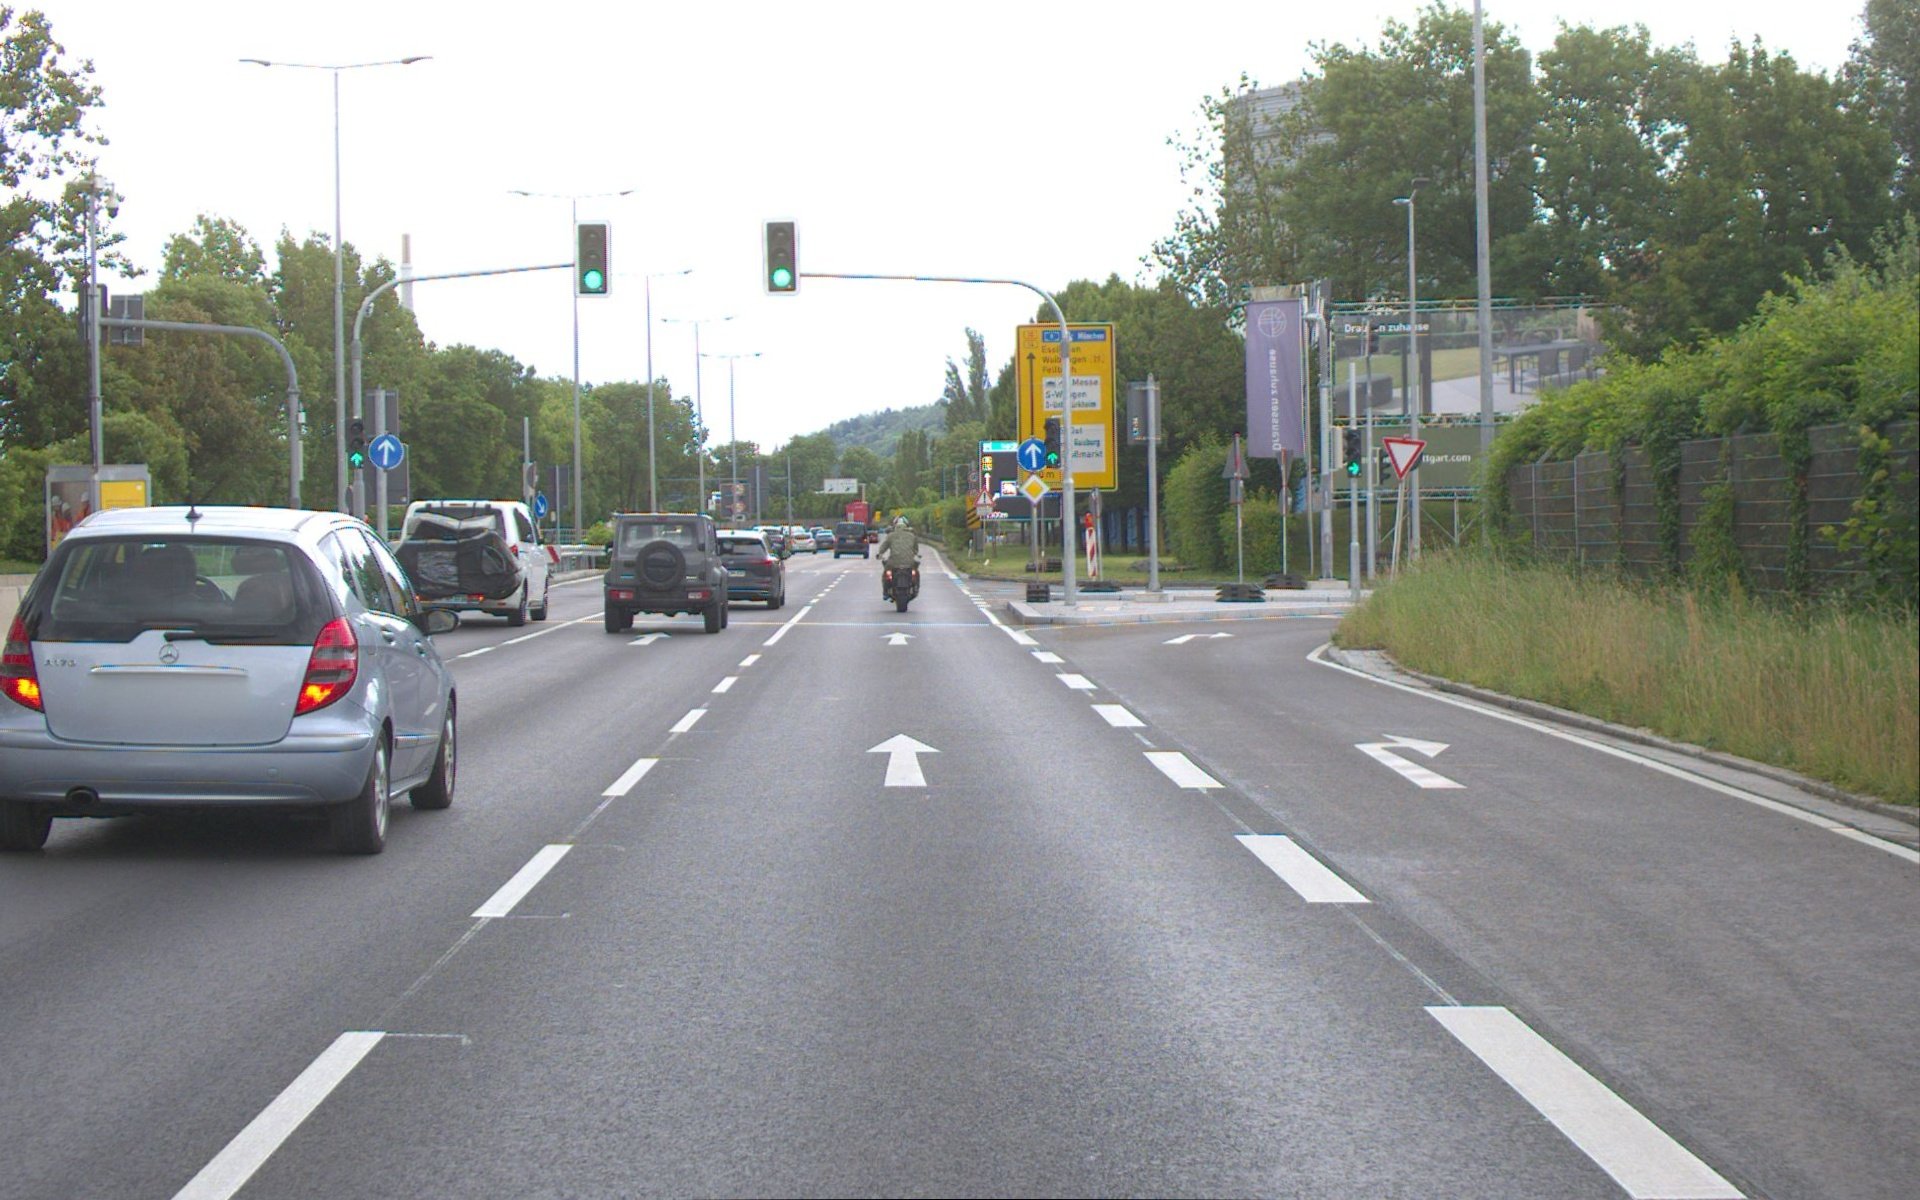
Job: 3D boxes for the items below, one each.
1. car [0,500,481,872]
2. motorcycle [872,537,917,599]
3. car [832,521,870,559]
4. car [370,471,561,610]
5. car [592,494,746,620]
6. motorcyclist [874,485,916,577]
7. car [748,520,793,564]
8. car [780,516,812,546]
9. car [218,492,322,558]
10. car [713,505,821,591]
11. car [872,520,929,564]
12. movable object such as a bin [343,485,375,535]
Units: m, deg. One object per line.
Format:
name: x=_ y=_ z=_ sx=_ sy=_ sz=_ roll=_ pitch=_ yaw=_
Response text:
car: x=-3.427 y=0.313 z=16.727 sx=1.710 sy=1.524 sz=4.001 roll=2 pitch=2 yaw=-2
motorcycle: x=-1.162 y=-0.588 z=61.436 sx=0.706 sy=1.036 sz=2.027 roll=2 pitch=2 yaw=1
car: x=-6.042 y=-3.330 z=190.437 sx=1.993 sy=2.006 sz=4.001 roll=2 pitch=2 yaw=-1
car: x=-7.349 y=-0.939 z=51.547 sx=2.214 sy=1.919 sz=5.003 roll=2 pitch=2 yaw=-1
car: x=-4.172 y=-0.656 z=49.795 sx=1.907 sy=1.678 sz=4.001 roll=2 pitch=2 yaw=-1
motorcyclist: x=-1.153 y=-1.236 z=61.356 sx=0.685 sy=1.604 sz=0.845 roll=2 pitch=2 yaw=1
car: x=-9.122 y=-2.809 z=165.662 sx=1.993 sy=2.006 sz=4.001 roll=2 pitch=2 yaw=-1
car: x=-11.217 y=-4.730 z=235.267 sx=1.993 sy=2.006 sz=4.001 roll=2 pitch=2 yaw=-1
car: x=-18.693 y=-2.058 z=93.272 sx=1.993 sy=1.678 sz=4.412 roll=2 pitch=2 yaw=-1
car: x=-3.548 y=-0.989 z=63.651 sx=1.840 sy=1.459 sz=4.001 roll=2 pitch=2 yaw=-2
car: x=-2.244 y=-2.172 z=128.050 sx=1.993 sy=1.546 sz=4.001 roll=2 pitch=2 yaw=-2
movable object such as a bin: x=-12.845 y=-1.932 z=73.507 sx=0.540 sy=1.055 sz=0.741 roll=2 pitch=2 yaw=-1
